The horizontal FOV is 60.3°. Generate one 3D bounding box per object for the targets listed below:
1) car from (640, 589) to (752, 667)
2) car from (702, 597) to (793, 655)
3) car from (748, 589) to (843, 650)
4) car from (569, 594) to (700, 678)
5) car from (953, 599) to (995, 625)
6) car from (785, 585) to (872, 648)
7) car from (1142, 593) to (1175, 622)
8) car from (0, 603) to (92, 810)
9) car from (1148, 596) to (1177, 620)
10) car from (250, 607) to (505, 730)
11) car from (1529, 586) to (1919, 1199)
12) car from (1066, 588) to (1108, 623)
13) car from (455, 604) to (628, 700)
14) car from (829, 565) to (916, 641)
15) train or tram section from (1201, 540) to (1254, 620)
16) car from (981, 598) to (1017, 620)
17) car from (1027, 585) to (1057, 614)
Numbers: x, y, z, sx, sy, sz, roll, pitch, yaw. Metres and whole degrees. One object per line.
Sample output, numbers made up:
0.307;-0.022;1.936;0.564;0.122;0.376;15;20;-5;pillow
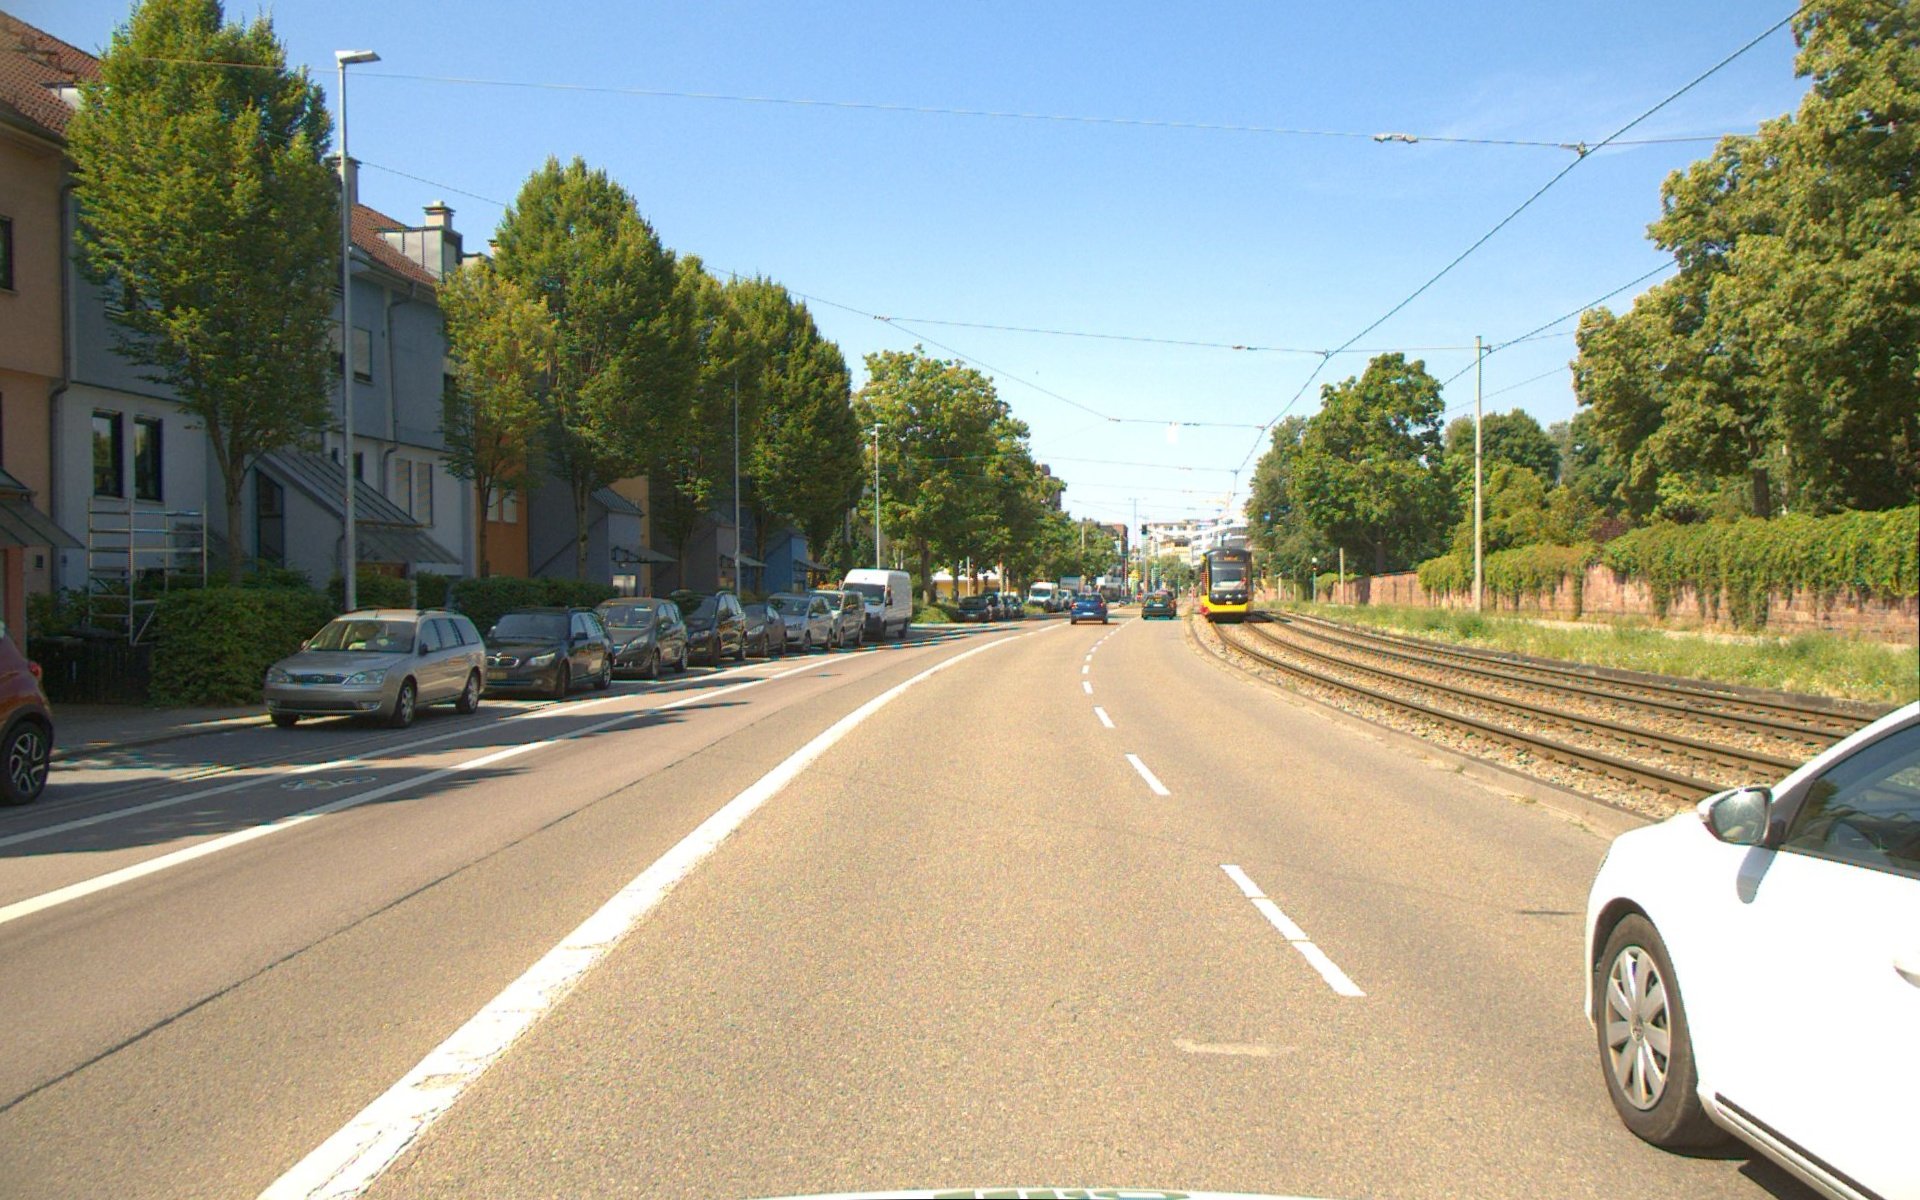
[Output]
-6.431;0.639;40.767;1.732;1.753;4.872;1;0;3;car
-5.892;0.699;46.320;1.654;1.500;4.051;2;0;5;car
-5.074;0.572;51.590;1.762;1.754;4.913;2;0;8;car
-6.862;0.715;35.330;1.681;1.653;4.314;1;0;4;car
0.836;0.688;95.441;1.663;1.442;4.004;-1;0;11;car
-4.474;0.534;57.057;1.879;1.982;5.358;2;0;7;car
11.050;0.413;92.107;1.762;1.534;4.003;0;1;7;car
-8.248;0.831;11.906;1.695;1.579;4.318;0;0;0;car
12.991;0.497;106.009;1.762;1.486;4.003;-1;0;7;car
-7.879;0.857;22.885;1.744;1.509;4.857;1;0;1;car
2.744;0.709;3.227;1.657;1.476;4.457;-1;0;-1;car
6.007;0.244;78.017;1.762;1.533;4.004;0;1;7;car
-7.307;0.857;29.359;1.687;1.500;4.716;1;0;2;car
-3.363;0.099;65.167;1.952;2.761;7.162;2;0;9;car
13.953;-0.993;86.436;2.457;3.812;13.322;-1;0;9;train or tram section
2.582;0.551;108.232;1.663;1.376;4.004;-1;0;11;car
7.034;-0.055;142.221;1.840;2.458;5.120;-1;0;11;car
